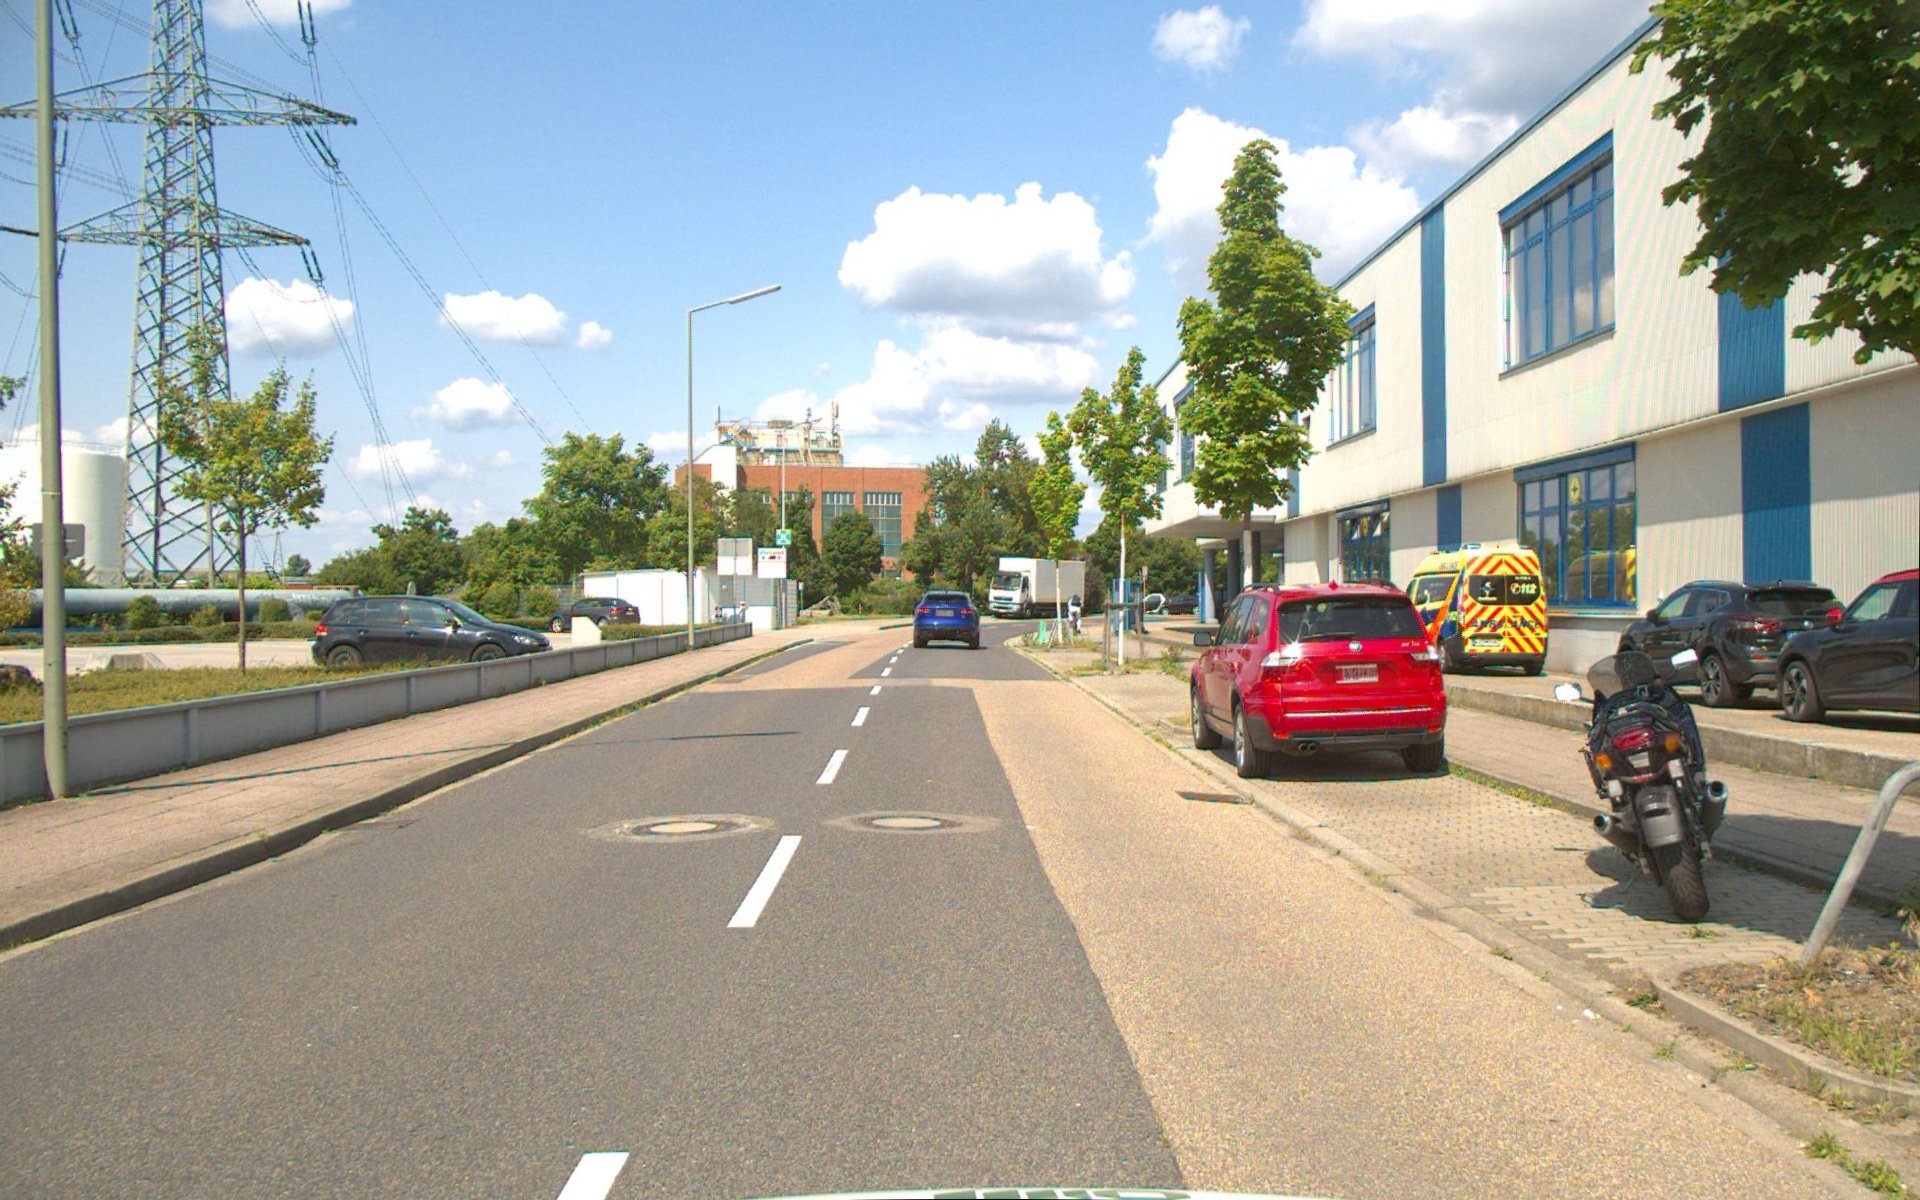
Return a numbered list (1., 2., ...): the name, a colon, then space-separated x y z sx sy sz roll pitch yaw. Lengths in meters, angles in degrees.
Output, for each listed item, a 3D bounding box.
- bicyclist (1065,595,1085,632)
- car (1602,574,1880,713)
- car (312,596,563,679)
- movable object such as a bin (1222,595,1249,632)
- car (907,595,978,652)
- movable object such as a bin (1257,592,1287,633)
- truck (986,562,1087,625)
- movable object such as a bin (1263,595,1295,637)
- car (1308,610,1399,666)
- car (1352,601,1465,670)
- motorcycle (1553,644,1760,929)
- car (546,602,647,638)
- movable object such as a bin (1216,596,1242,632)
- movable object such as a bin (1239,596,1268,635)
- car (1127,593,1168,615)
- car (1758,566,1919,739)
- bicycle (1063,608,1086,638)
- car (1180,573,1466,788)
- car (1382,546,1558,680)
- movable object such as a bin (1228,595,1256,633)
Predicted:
1. bicyclist: 4.454 0.517 63.972 0.649 1.422 0.859 -1 0 10
2. car: 10.303 0.555 22.202 1.679 1.680 4.214 -1 -1 -1
3. car: -9.266 0.649 29.584 3.906 1.400 1.803 -1 0 -1
4. movable object such as a bin: 10.926 0.536 65.683 0.788 1.438 1.357 1 0 -3
5. car: -0.476 0.678 49.413 1.870 1.621 4.702 0 0 2
6. movable object such as a bin: 11.017 0.438 58.431 0.788 1.438 1.357 1 0 -2
7. truck: 4.849 -0.466 102.102 2.277 3.629 9.351 1 1 29
8. movable object such as a bin: 10.975 0.542 56.961 0.788 1.438 1.357 1 0 -2
9. car: 10.458 0.984 44.220 1.465 1.428 3.854 0 0 -1
10. car: 10.385 0.795 38.536 1.540 1.516 3.816 0 0 -1
11. motorcycle: 3.627 0.882 8.795 0.838 1.221 2.364 0 0 19
12. car: -14.849 0.793 67.482 3.916 1.402 1.798 0 0 33
13. movable object such as a bin: 10.916 0.580 67.161 0.788 1.438 1.357 1 0 -3
14. movable object such as a bin: 10.871 0.571 61.246 0.788 1.438 1.174 1 0 -3
15. car: 13.423 0.287 118.323 2.837 1.597 1.890 0 -1 3
16. car: 10.339 0.526 17.203 1.953 1.686 4.289 -1 -1 -1
17. bicycle: 4.441 0.891 63.878 0.652 1.128 2.169 -1 0 10
18. car: 3.278 0.665 15.871 1.719 1.679 4.678 -3 0 1
19. car: 10.211 0.250 33.540 1.885 2.507 5.258 0 0 -1
20. movable object such as a bin: 10.950 0.540 64.271 0.788 1.438 1.405 1 0 -3
